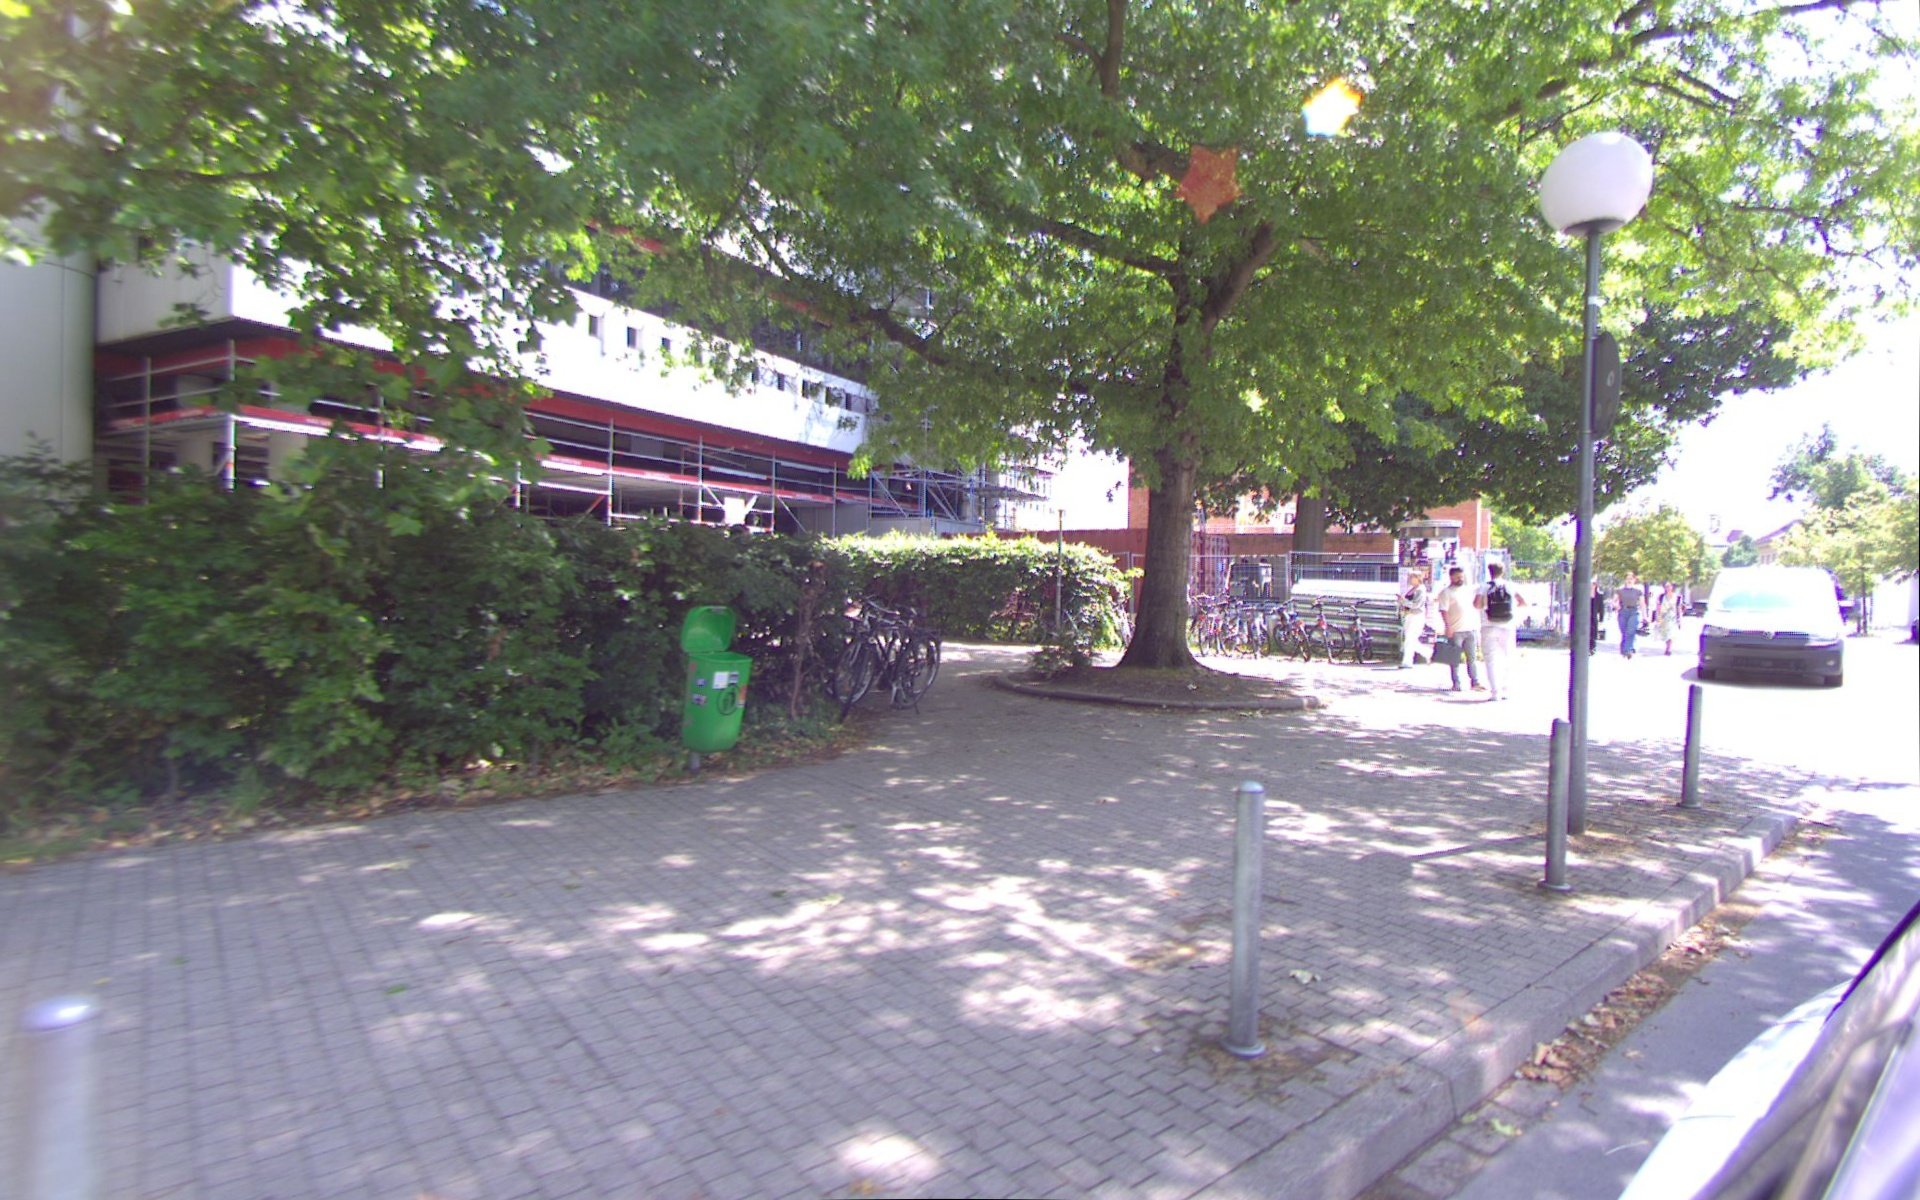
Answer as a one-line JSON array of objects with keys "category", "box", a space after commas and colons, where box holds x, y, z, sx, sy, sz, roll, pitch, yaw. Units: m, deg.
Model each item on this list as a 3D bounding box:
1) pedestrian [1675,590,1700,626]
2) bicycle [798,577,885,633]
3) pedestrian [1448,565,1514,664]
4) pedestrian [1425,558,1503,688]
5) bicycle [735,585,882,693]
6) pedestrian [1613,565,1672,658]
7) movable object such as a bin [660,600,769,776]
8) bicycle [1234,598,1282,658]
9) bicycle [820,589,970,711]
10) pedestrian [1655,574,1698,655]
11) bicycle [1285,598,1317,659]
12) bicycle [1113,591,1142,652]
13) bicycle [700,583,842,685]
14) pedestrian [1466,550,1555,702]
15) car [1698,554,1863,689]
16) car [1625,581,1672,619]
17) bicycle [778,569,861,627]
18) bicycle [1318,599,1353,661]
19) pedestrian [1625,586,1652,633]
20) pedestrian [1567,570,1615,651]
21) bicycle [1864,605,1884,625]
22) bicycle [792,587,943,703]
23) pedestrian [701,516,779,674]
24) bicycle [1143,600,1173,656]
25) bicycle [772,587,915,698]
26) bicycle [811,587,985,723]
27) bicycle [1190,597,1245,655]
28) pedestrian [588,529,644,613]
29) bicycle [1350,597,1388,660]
[{"category": "pedestrian", "box": [38.084, 0.432, 52.966, 0.817, 1.840, 1.135, 1, 0, 24]}, {"category": "bicycle", "box": [-2.428, 0.082, 20.696, 1.858, 1.039, 0.494, 3, 2, 33]}, {"category": "pedestrian", "box": [8.898, 0.234, 17.288, 0.697, 1.652, 0.716, 1, 1, -28]}, {"category": "pedestrian", "box": [6.910, 0.305, 13.891, 0.730, 1.731, 0.565, 1, 0, -6]}, {"category": "bicycle", "box": [-1.707, 0.405, 11.690, 0.497, 1.133, 1.916, 1, 1, 35]}, {"category": "pedestrian", "box": [13.563, 0.210, 20.111, 0.849, 1.786, 0.705, 2, 1, 41]}, {"category": "movable object such as a bin", "box": [-1.621, 0.551, 6.682, 0.488, 1.086, 0.498, 1, 1, 37]}, {"category": "bicycle", "box": [5.657, 0.507, 19.167, 0.509, 1.029, 1.791, 3, 2, 27]}, {"category": "bicycle", "box": [-0.624, 0.461, 10.390, 0.497, 1.133, 1.848, 1, 1, 35]}, {"category": "pedestrian", "box": [15.392, 0.290, 21.764, 0.646, 1.687, 0.894, 2, 1, 31]}, {"category": "bicycle", "box": [6.402, 0.514, 18.980, 0.508, 1.029, 1.797, 2, 2, 19]}, {"category": "bicycle", "box": [3.296, 0.392, 19.819, 0.492, 1.091, 1.803, 2, 2, 10]}, {"category": "bicycle", "box": [-2.221, 0.366, 12.111, 0.497, 1.133, 1.848, 1, 1, 35]}, {"category": "pedestrian", "box": [6.881, 0.312, 12.678, 0.709, 1.844, 0.631, 1, 0, -6]}, {"category": "car", "box": [13.549, 0.277, 16.775, 1.846, 1.915, 4.821, 2, 1, 39]}, {"category": "car", "box": [49.598, -0.032, 72.968, 2.046, 2.575, 5.794, 1, 1, 27]}, {"category": "bicycle", "box": [-3.038, -0.063, 21.745, 1.858, 1.132, 0.494, 3, 2, 32]}, {"category": "bicycle", "box": [6.925, 0.526, 18.707, 0.508, 1.029, 1.797, 2, 2, 19]}, {"category": "pedestrian", "box": [26.408, 0.364, 39.394, 0.689, 1.803, 0.780, 2, 1, 25]}, {"category": "pedestrian", "box": [12.954, 0.206, 20.776, 0.668, 1.620, 0.970, 2, 1, 41]}, {"category": "bicycle", "box": [51.097, 0.808, 56.584, 0.541, 1.075, 1.876, 1, 0, 34]}, {"category": "bicycle", "box": [-0.945, 0.429, 10.845, 0.497, 1.133, 1.912, 1, 1, 35]}, {"category": "pedestrian", "box": [-2.689, -0.069, 12.391, 0.541, 1.860, 0.752, 1, 1, 36]}, {"category": "bicycle", "box": [3.830, 0.515, 19.640, 0.506, 0.968, 1.803, 2, 2, 10]}, {"category": "bicycle", "box": [-1.261, 0.432, 11.328, 0.497, 1.133, 1.848, 1, 1, 35]}, {"category": "bicycle", "box": [-0.528, 0.456, 9.467, 0.617, 1.133, 1.848, 1, 1, 35]}, {"category": "bicycle", "box": [4.963, 0.475, 19.427, 0.510, 1.029, 1.789, 3, 2, 30]}, {"category": "pedestrian", "box": [-6.672, -0.561, 19.636, 0.756, 1.592, 0.719, 1, 1, 36]}, {"category": "bicycle", "box": [7.421, 0.495, 18.395, 0.508, 1.029, 1.797, 2, 2, 19]}]
